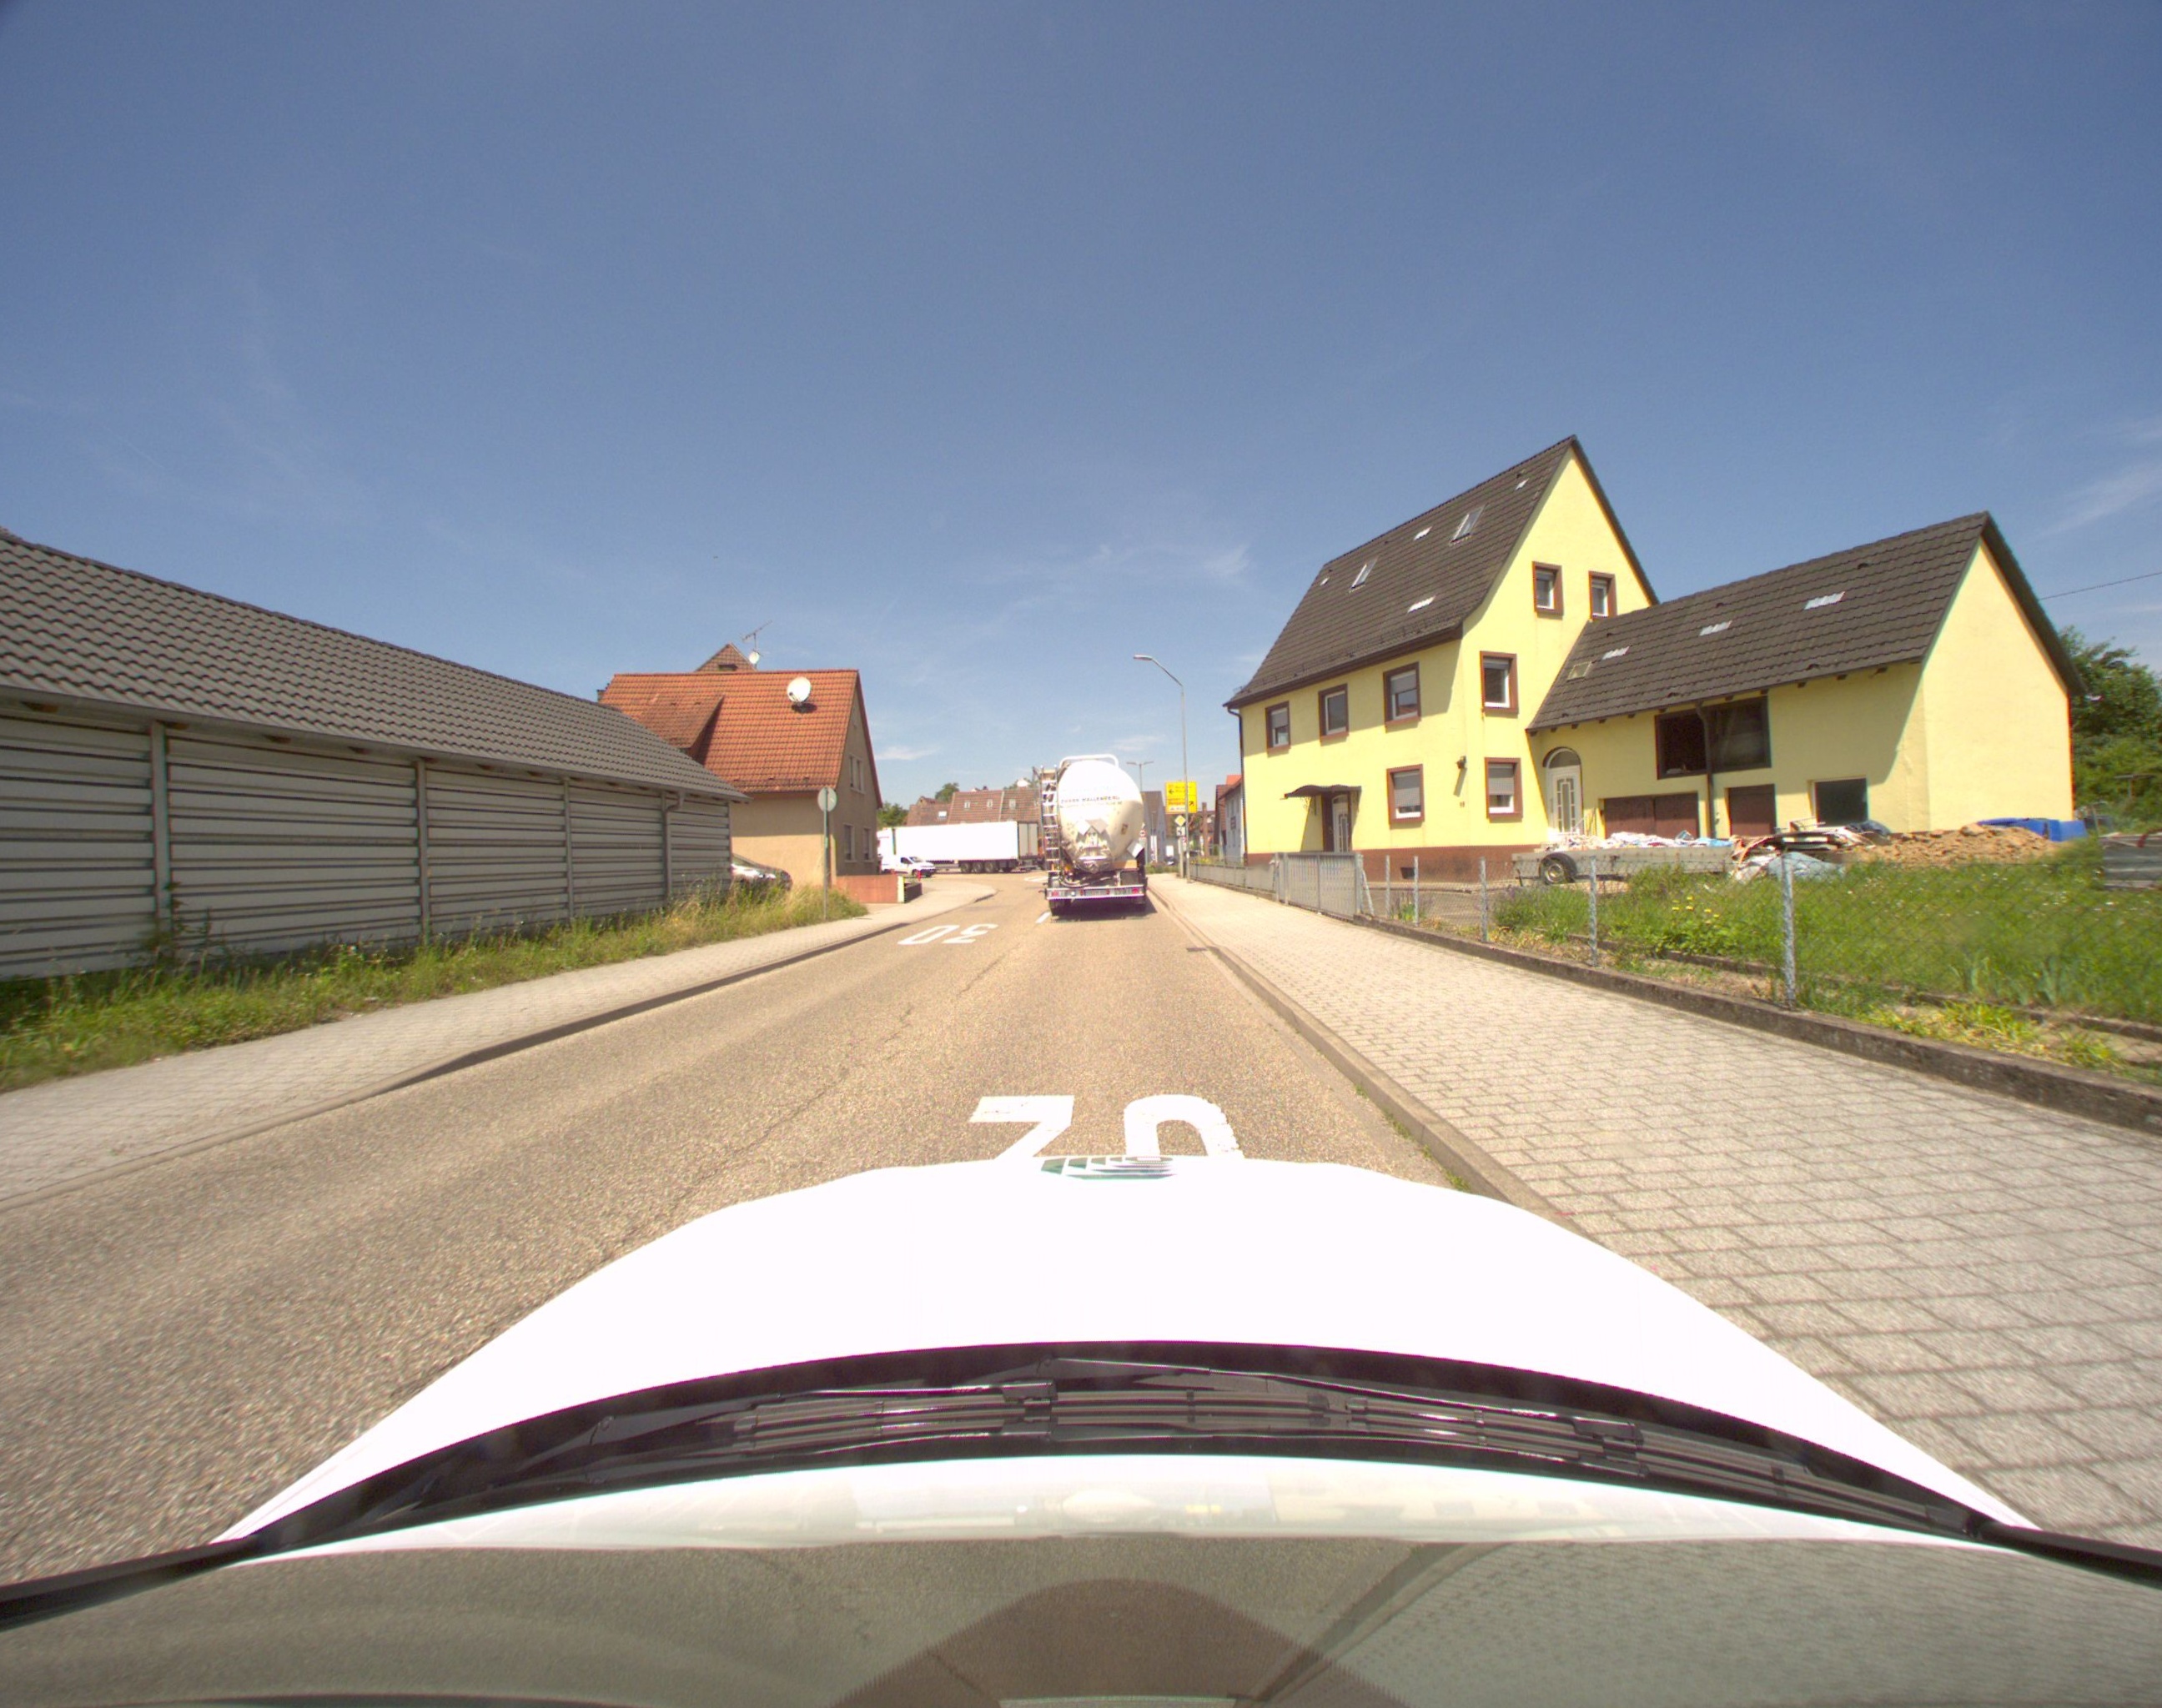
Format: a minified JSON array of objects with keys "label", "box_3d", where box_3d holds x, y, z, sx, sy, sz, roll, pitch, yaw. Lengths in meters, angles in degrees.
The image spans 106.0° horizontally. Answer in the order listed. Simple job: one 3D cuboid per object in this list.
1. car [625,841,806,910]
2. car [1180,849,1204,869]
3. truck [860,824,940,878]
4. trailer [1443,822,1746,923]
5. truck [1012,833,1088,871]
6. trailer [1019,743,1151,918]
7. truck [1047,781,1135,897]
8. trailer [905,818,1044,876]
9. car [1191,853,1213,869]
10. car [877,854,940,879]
[{"label":"car","box_3d":[-10.031,0.575,22.552,4.107,1.638,1.867,-3,0,3]},{"label":"car","box_3d":[11.425,0.516,83.739,1.979,1.912,4.340,-1,-2,14]},{"label":"truck","box_3d":[-15.638,-0.248,70.580,5.868,4.401,3.129,-2,-1,18]},{"label":"trailer","box_3d":[9.227,0.262,14.557,5.376,1.546,2.119,-1,-1,-27]},{"label":"truck","box_3d":[-2.672,-0.118,73.260,2.635,3.181,7.510,-3,-2,37]},{"label":"trailer","box_3d":[0.247,-0.468,24.372,2.942,3.948,11.621,-1,-1,2]},{"label":"truck","box_3d":[0.473,-0.496,31.107,2.976,3.965,5.582,-1,-1,3]},{"label":"trailer","box_3d":[-8.960,-0.470,67.018,12.332,4.277,3.162,-2,-1,34]},{"label":"car","box_3d":[13.529,0.753,90.613,1.803,1.634,4.225,-2,0,16]},{"label":"car","box_3d":[-13.448,0.967,63.525,4.467,1.785,1.890,-1,1,23]}]
